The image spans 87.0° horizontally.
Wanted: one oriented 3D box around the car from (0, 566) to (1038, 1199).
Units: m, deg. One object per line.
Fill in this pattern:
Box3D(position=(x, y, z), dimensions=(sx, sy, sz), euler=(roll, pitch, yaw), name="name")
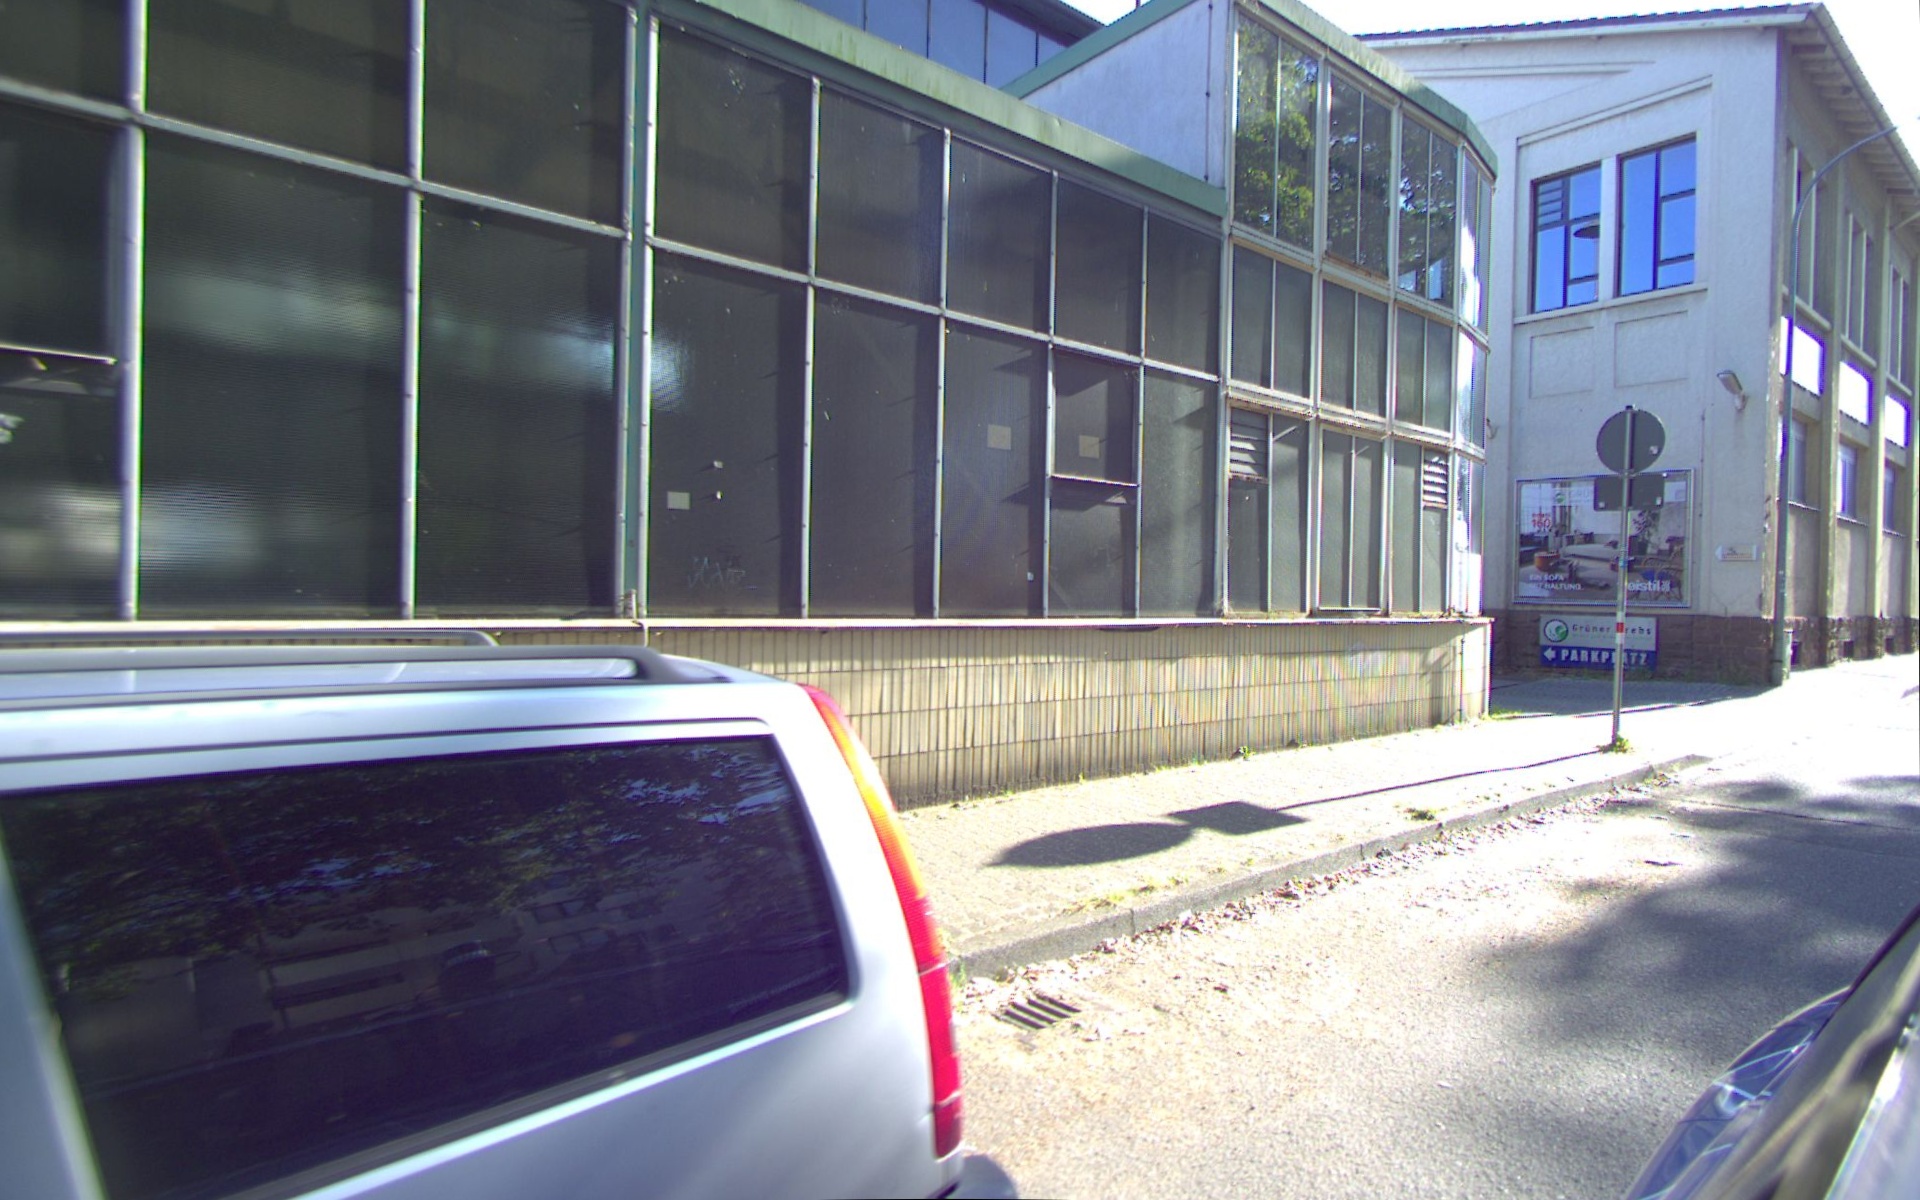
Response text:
Box3D(position=(-2.184, 0.711, 0.836), dimensions=(4.449, 1.512, 1.904), euler=(0, 1, -41), name="car")
